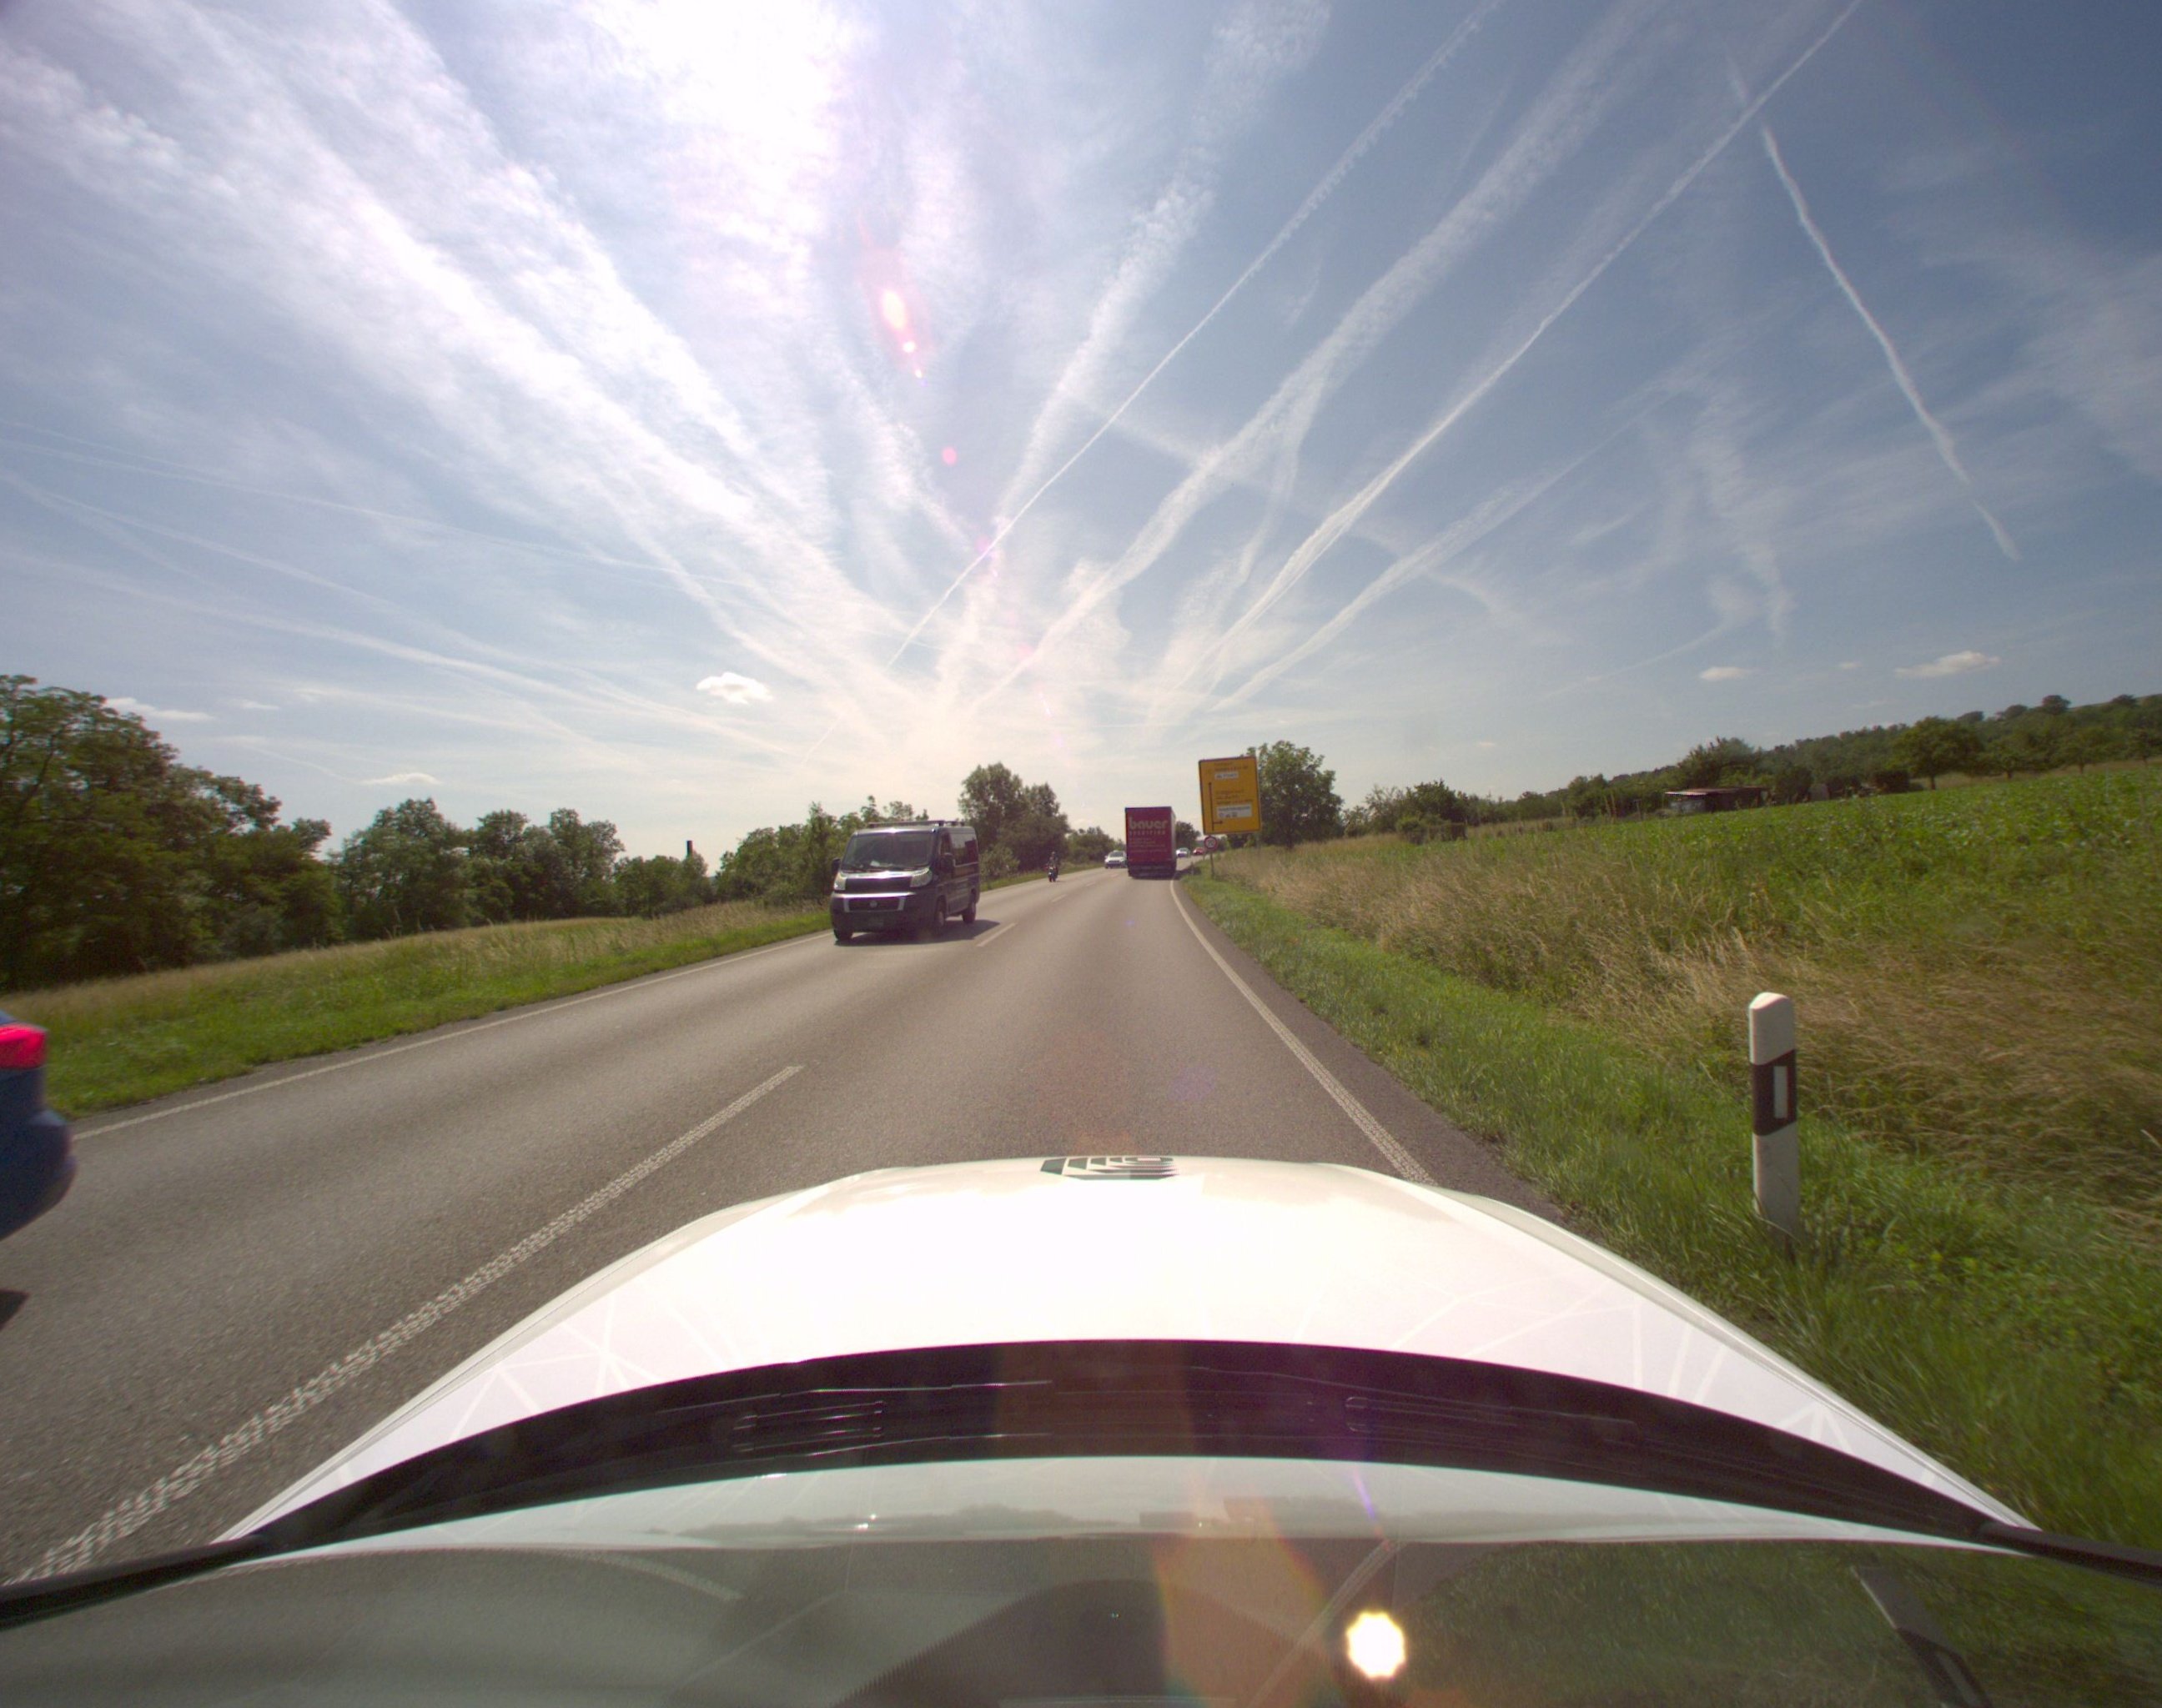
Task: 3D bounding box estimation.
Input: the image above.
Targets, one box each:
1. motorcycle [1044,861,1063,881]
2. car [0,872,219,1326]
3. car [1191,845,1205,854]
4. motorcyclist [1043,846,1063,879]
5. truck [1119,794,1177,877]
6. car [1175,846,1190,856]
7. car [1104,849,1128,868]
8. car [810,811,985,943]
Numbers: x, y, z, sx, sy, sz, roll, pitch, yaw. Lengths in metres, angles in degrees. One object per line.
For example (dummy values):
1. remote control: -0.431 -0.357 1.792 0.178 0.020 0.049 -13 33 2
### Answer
1. motorcycle: -1.474 0.903 44.159 0.754 0.994 2.282 -1 0 4
2. car: -4.587 0.854 1.200 1.856 1.486 4.361 -2 0 2
3. car: 19.896 -0.724 138.511 1.806 1.398 4.201 -3 1 16
4. motorcyclist: -1.524 0.461 44.180 0.914 1.718 0.963 -2 0 3
5. truck: 4.265 -0.962 50.154 3.097 4.506 12.187 0 0 6
6. car: 15.398 -0.501 123.109 1.738 1.414 3.787 -3 0 14
7. car: 3.067 0.363 71.065 1.781 1.522 4.168 -2 0 6
8. car: -3.579 0.409 17.034 2.161 2.303 4.912 -2 0 4
